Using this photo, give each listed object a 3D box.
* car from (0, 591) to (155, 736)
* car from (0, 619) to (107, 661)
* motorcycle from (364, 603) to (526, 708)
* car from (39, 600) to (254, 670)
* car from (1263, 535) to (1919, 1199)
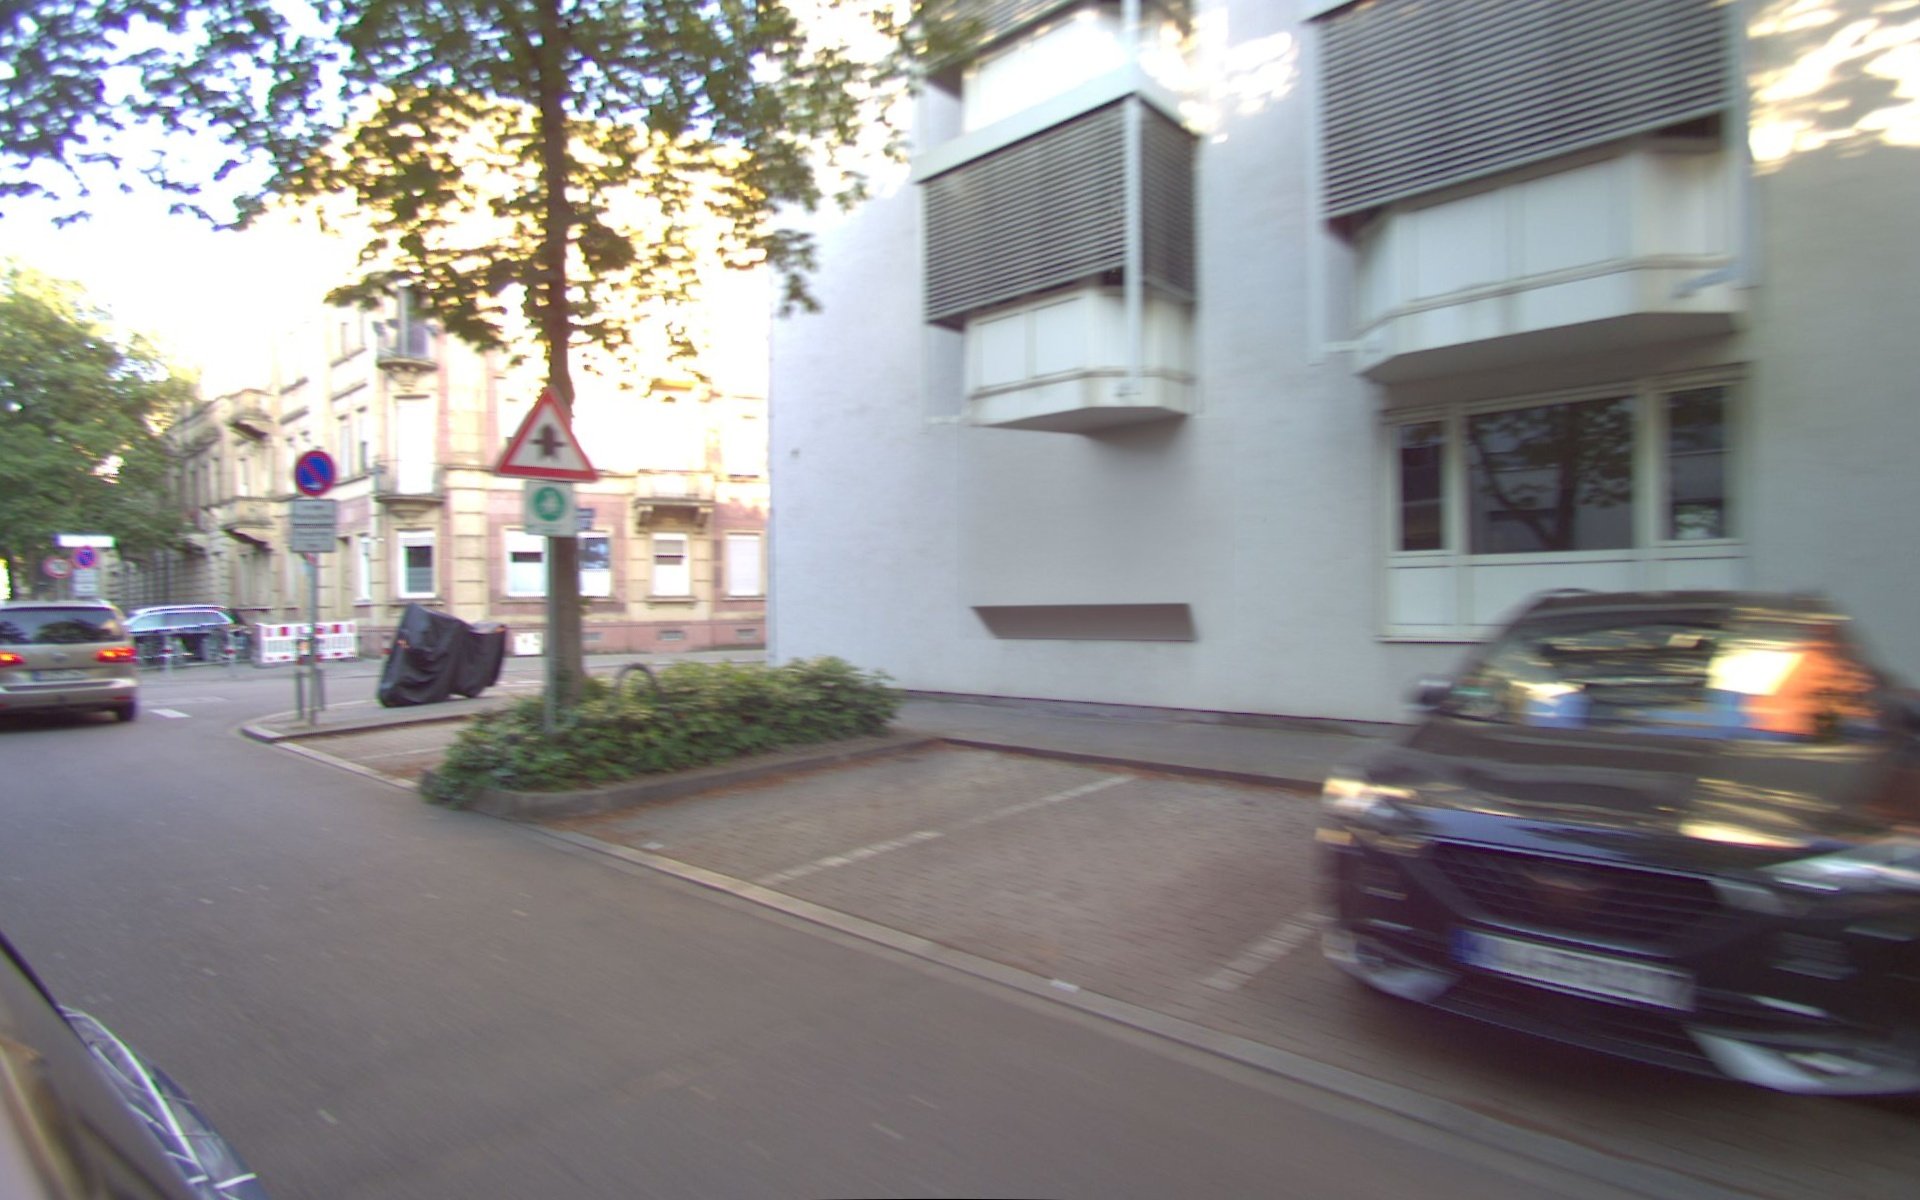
[{"bbox_3d":[-12.594,0.773,13.771,4.383,1.701,1.764,-1,0,41],"label":"car"},{"bbox_3d":[-40.339,1.730,44.232,2.000,1.728,4.468,-1,0,43],"label":"car"},{"bbox_3d":[-7.855,0.801,15.574,0.895,1.481,2.217,-1,-1,20],"label":"motorcycle"},{"bbox_3d":[-22.498,0.900,28.093,4.537,1.748,2.143,-1,0,-43],"label":"car"},{"bbox_3d":[3.163,0.618,4.291,1.871,1.537,4.461,-1,0,42],"label":"car"}]
